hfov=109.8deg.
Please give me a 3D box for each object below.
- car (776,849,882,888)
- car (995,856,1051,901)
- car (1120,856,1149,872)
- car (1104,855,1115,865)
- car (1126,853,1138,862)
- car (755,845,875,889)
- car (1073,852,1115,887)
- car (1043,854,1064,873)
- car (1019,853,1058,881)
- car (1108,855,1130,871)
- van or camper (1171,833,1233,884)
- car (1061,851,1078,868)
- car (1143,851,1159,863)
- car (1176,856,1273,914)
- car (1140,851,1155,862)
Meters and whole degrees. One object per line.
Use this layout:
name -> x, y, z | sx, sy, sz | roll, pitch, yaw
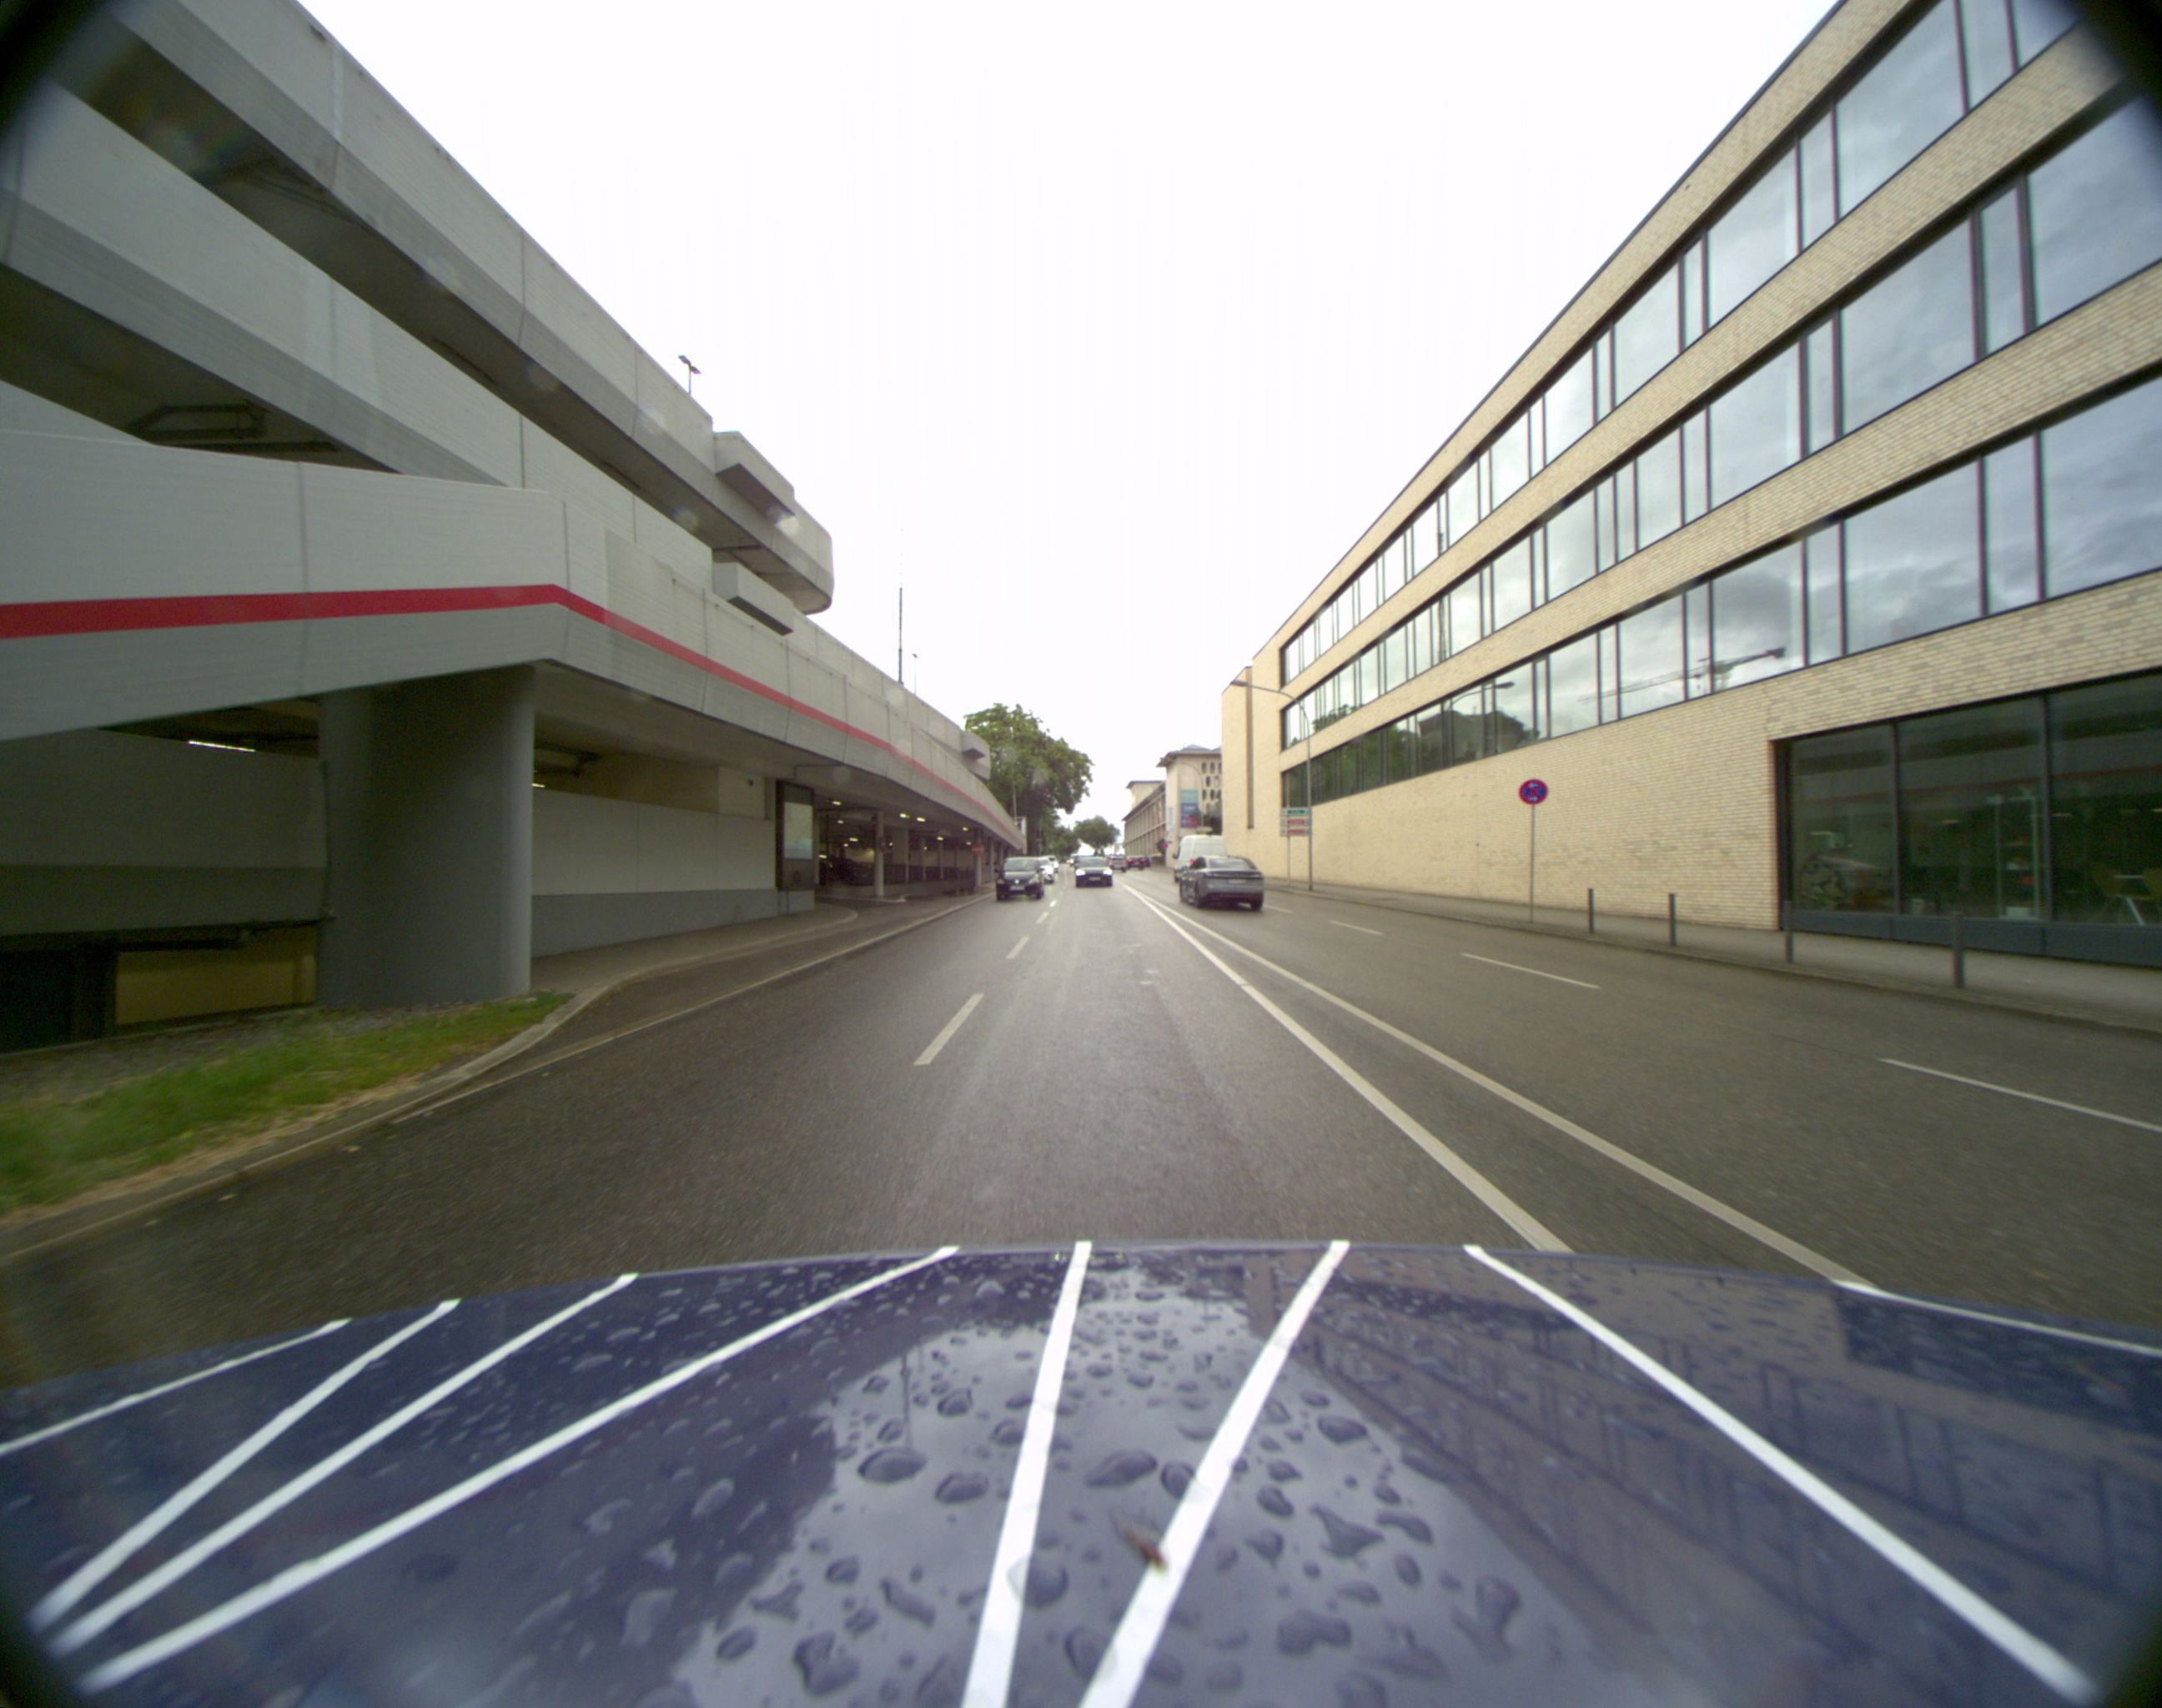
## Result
car -> -11.734, 0.708, 35.554 | 4.251, 1.650, 2.003 | -1, -4, 10
car -> -2.096, 0.877, 28.549 | 1.683, 1.516, 3.990 | -2, 0, 1
car -> 5.926, 1.108, 84.717 | 1.862, 1.652, 3.994 | -2, 0, -16
car -> 4.859, 1.009, 129.900 | 1.800, 1.516, 4.056 | -2, 0, 1
car -> 9.023, 0.666, 133.859 | 1.800, 1.516, 4.056 | -2, 0, 1
car -> -10.970, 0.591, 31.489 | 4.251, 1.650, 2.003 | -1, -4, 10
car -> 0.618, 0.743, 36.941 | 1.852, 1.516, 3.990 | -2, 0, 1
car -> -2.603, 0.887, 72.363 | 1.727, 1.628, 3.999 | -2, 1, 1
car -> -2.397, 0.701, 43.804 | 1.915, 1.443, 4.036 | -2, 1, 0
car -> 3.479, 0.809, 70.165 | 1.745, 1.461, 3.881 | 1, 0, -1
van or camper -> 6.580, 0.218, 42.076 | 2.108, 2.567, 5.905 | 1, 0, -3
car -> -1.466, 0.697, 99.840 | 1.998, 2.002, 3.999 | -2, 1, 0
car -> 9.513, 0.470, 103.599 | 1.800, 1.516, 4.056 | -2, 0, 1
car -> 4.107, 0.828, 22.473 | 1.888, 1.489, 4.561 | 1, 0, -2
car -> 9.550, 0.415, 109.275 | 1.800, 1.516, 4.056 | -2, 0, 1
